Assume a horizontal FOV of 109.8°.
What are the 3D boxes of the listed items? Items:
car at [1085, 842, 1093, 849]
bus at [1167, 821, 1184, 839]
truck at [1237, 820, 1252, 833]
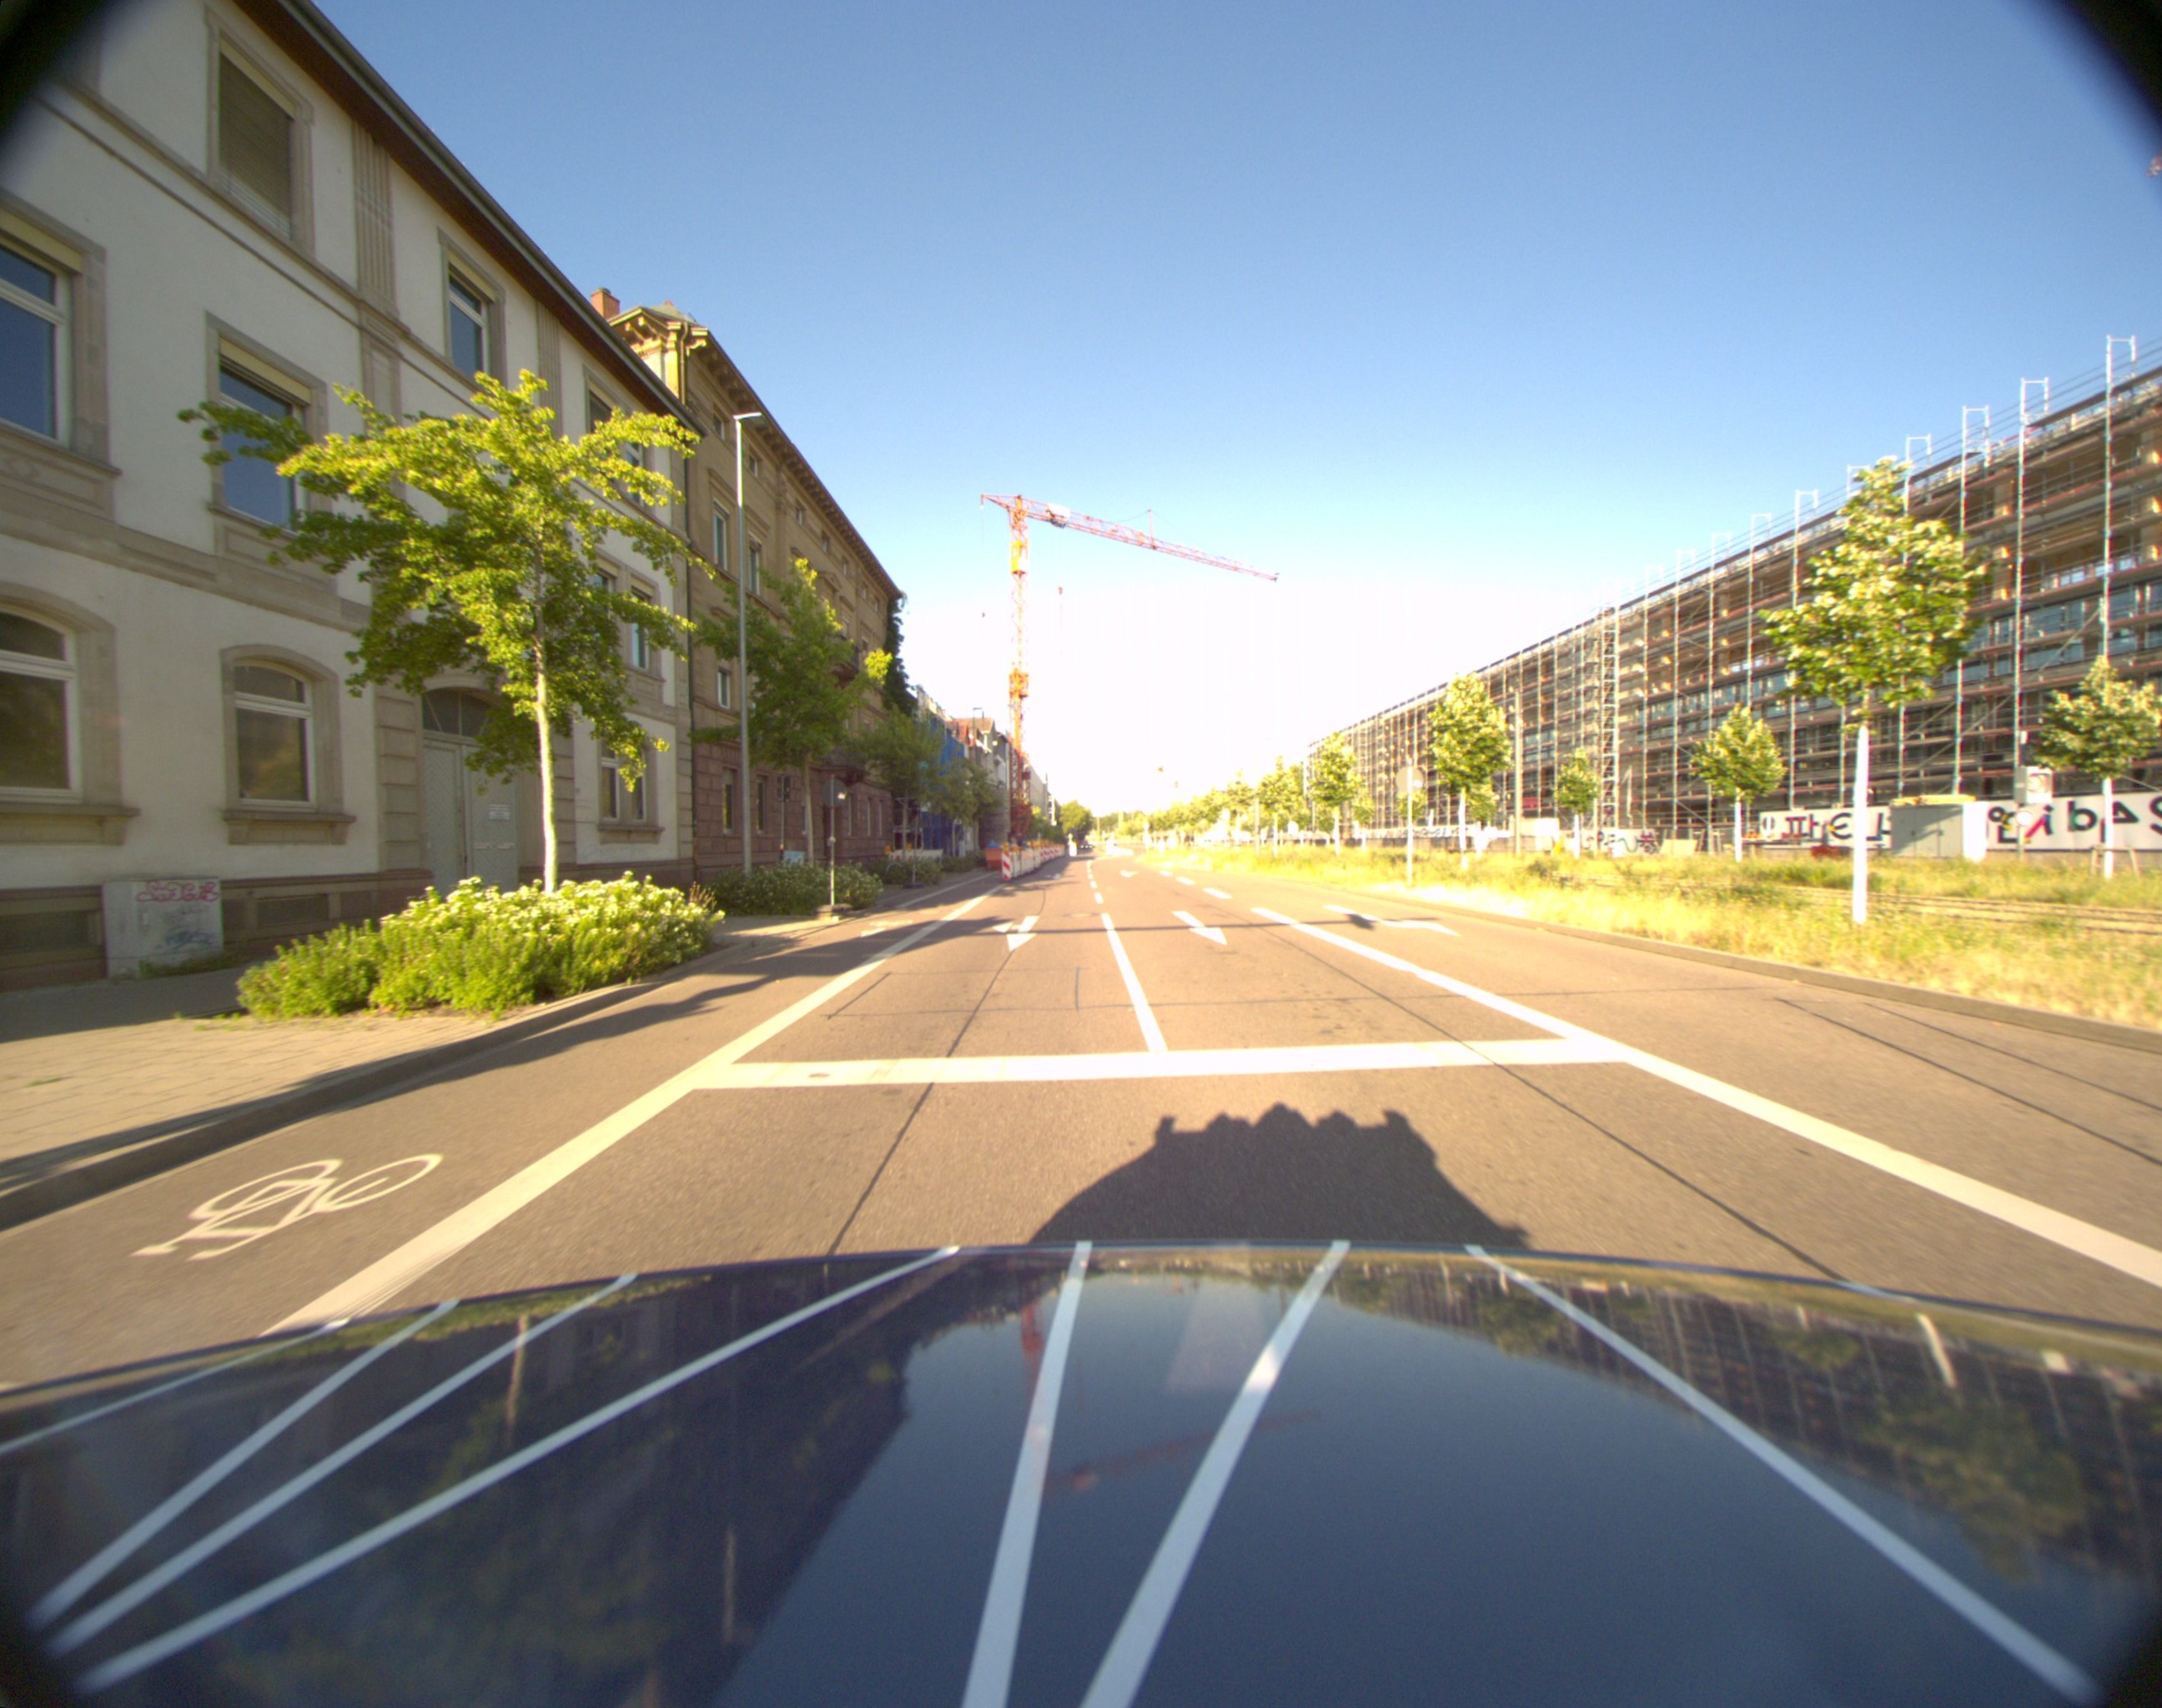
[{"bbox_3d":[2.138,-2.219,203.573,1.998,1.696,3.999,-1,2,2],"label":"car"},{"bbox_3d":[17.866,-4.582,143.952,2.723,3.204,8.656,0,2,5],"label":"bus"},{"bbox_3d":[33.593,-5.555,156.157,2.143,2.559,4.739,-1,2,2],"label":"truck"}]
